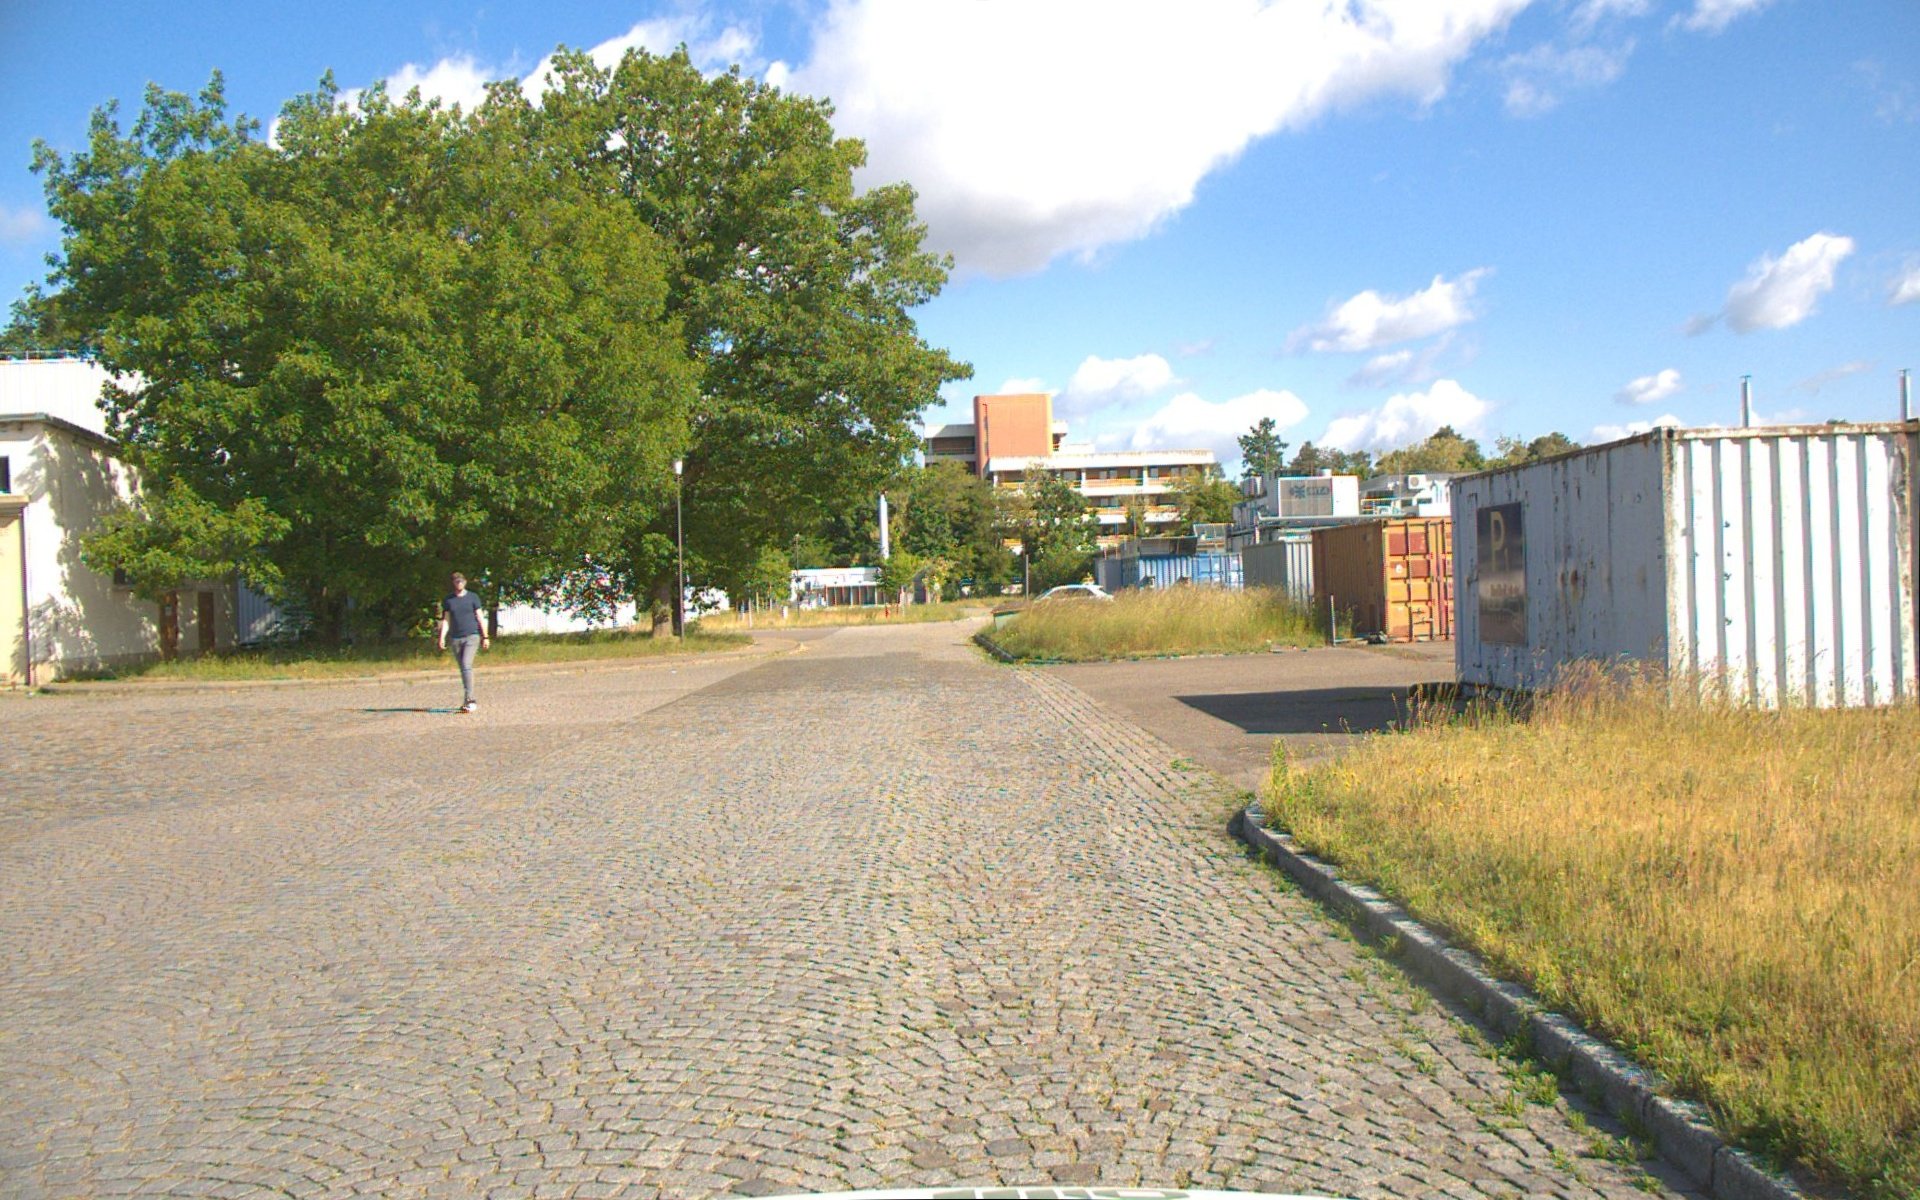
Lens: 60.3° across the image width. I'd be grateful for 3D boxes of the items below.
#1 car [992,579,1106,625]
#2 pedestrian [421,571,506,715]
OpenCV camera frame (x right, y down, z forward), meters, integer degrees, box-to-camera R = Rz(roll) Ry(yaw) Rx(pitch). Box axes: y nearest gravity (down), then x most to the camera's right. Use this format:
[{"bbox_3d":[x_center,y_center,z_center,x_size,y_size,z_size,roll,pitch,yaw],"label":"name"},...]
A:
[{"bbox_3d":[3.651,0.072,68.251,4.496,1.706,1.874,-2,0,-2],"label":"car"},{"bbox_3d":[-7.007,0.588,23.394,0.781,1.947,1.142,-2,0,-1],"label":"pedestrian"}]
